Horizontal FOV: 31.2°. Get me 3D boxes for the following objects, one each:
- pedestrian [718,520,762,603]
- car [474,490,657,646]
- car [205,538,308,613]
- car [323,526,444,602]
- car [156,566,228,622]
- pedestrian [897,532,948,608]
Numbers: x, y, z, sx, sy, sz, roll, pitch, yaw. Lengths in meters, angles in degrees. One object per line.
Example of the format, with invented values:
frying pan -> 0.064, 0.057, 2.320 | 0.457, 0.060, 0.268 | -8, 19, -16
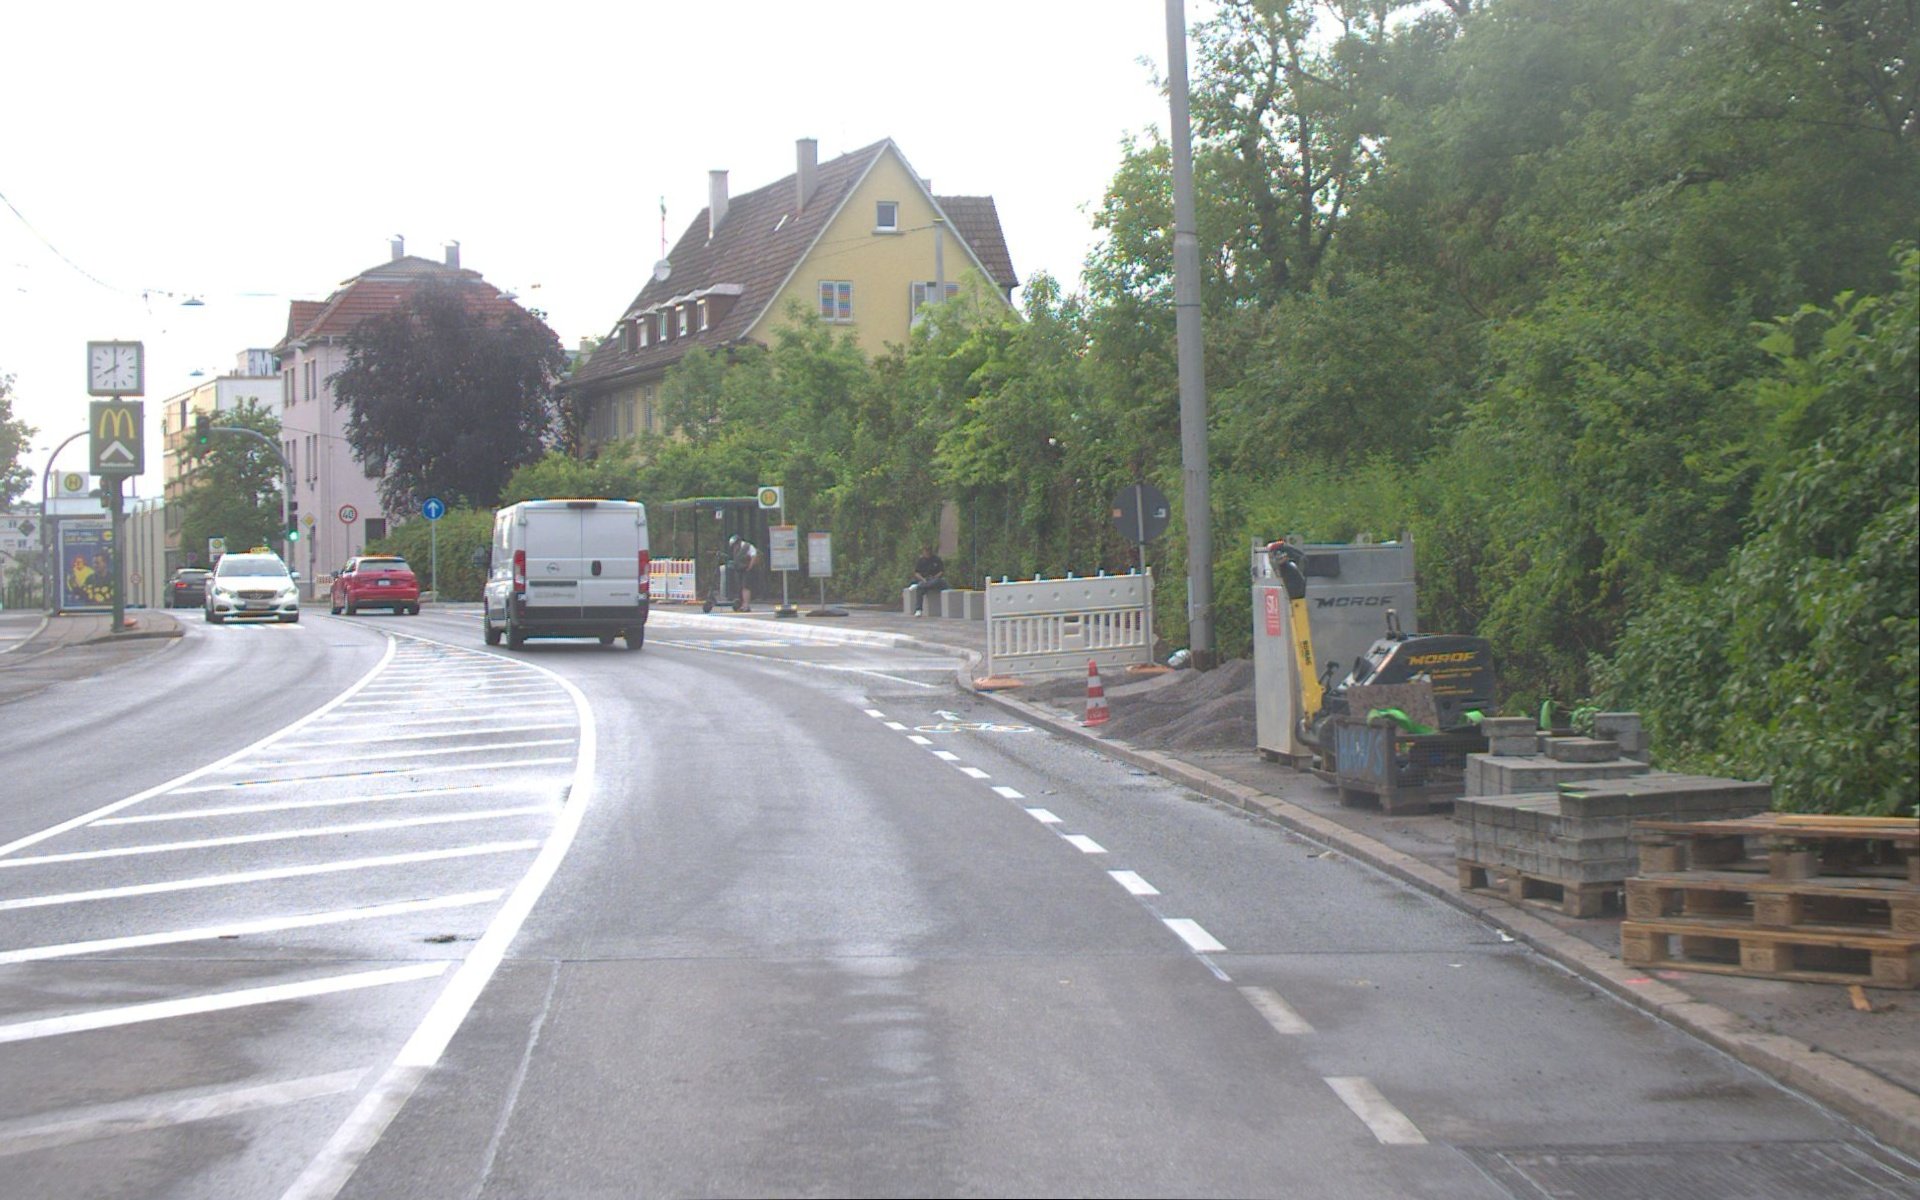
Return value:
pedestrian -> -4.631, -0.809, 72.384 | 0.905, 1.725, 0.654 | 1, 2, -3
car -> -6.109, -0.541, 52.745 | 2.237, 2.205, 4.715 | 0, 3, -13
car -> -15.400, -0.520, 75.086 | 1.928, 1.550, 4.621 | 1, 0, -15
car -> -14.049, -0.897, 83.584 | 2.237, 1.651, 4.715 | 0, 3, -18
car -> -27.565, -0.227, 123.283 | 2.237, 1.798, 4.715 | 0, 3, -16
pedestrian -> -0.701, -0.570, 64.087 | 0.878, 1.362, 1.066 | 1, 2, -4
